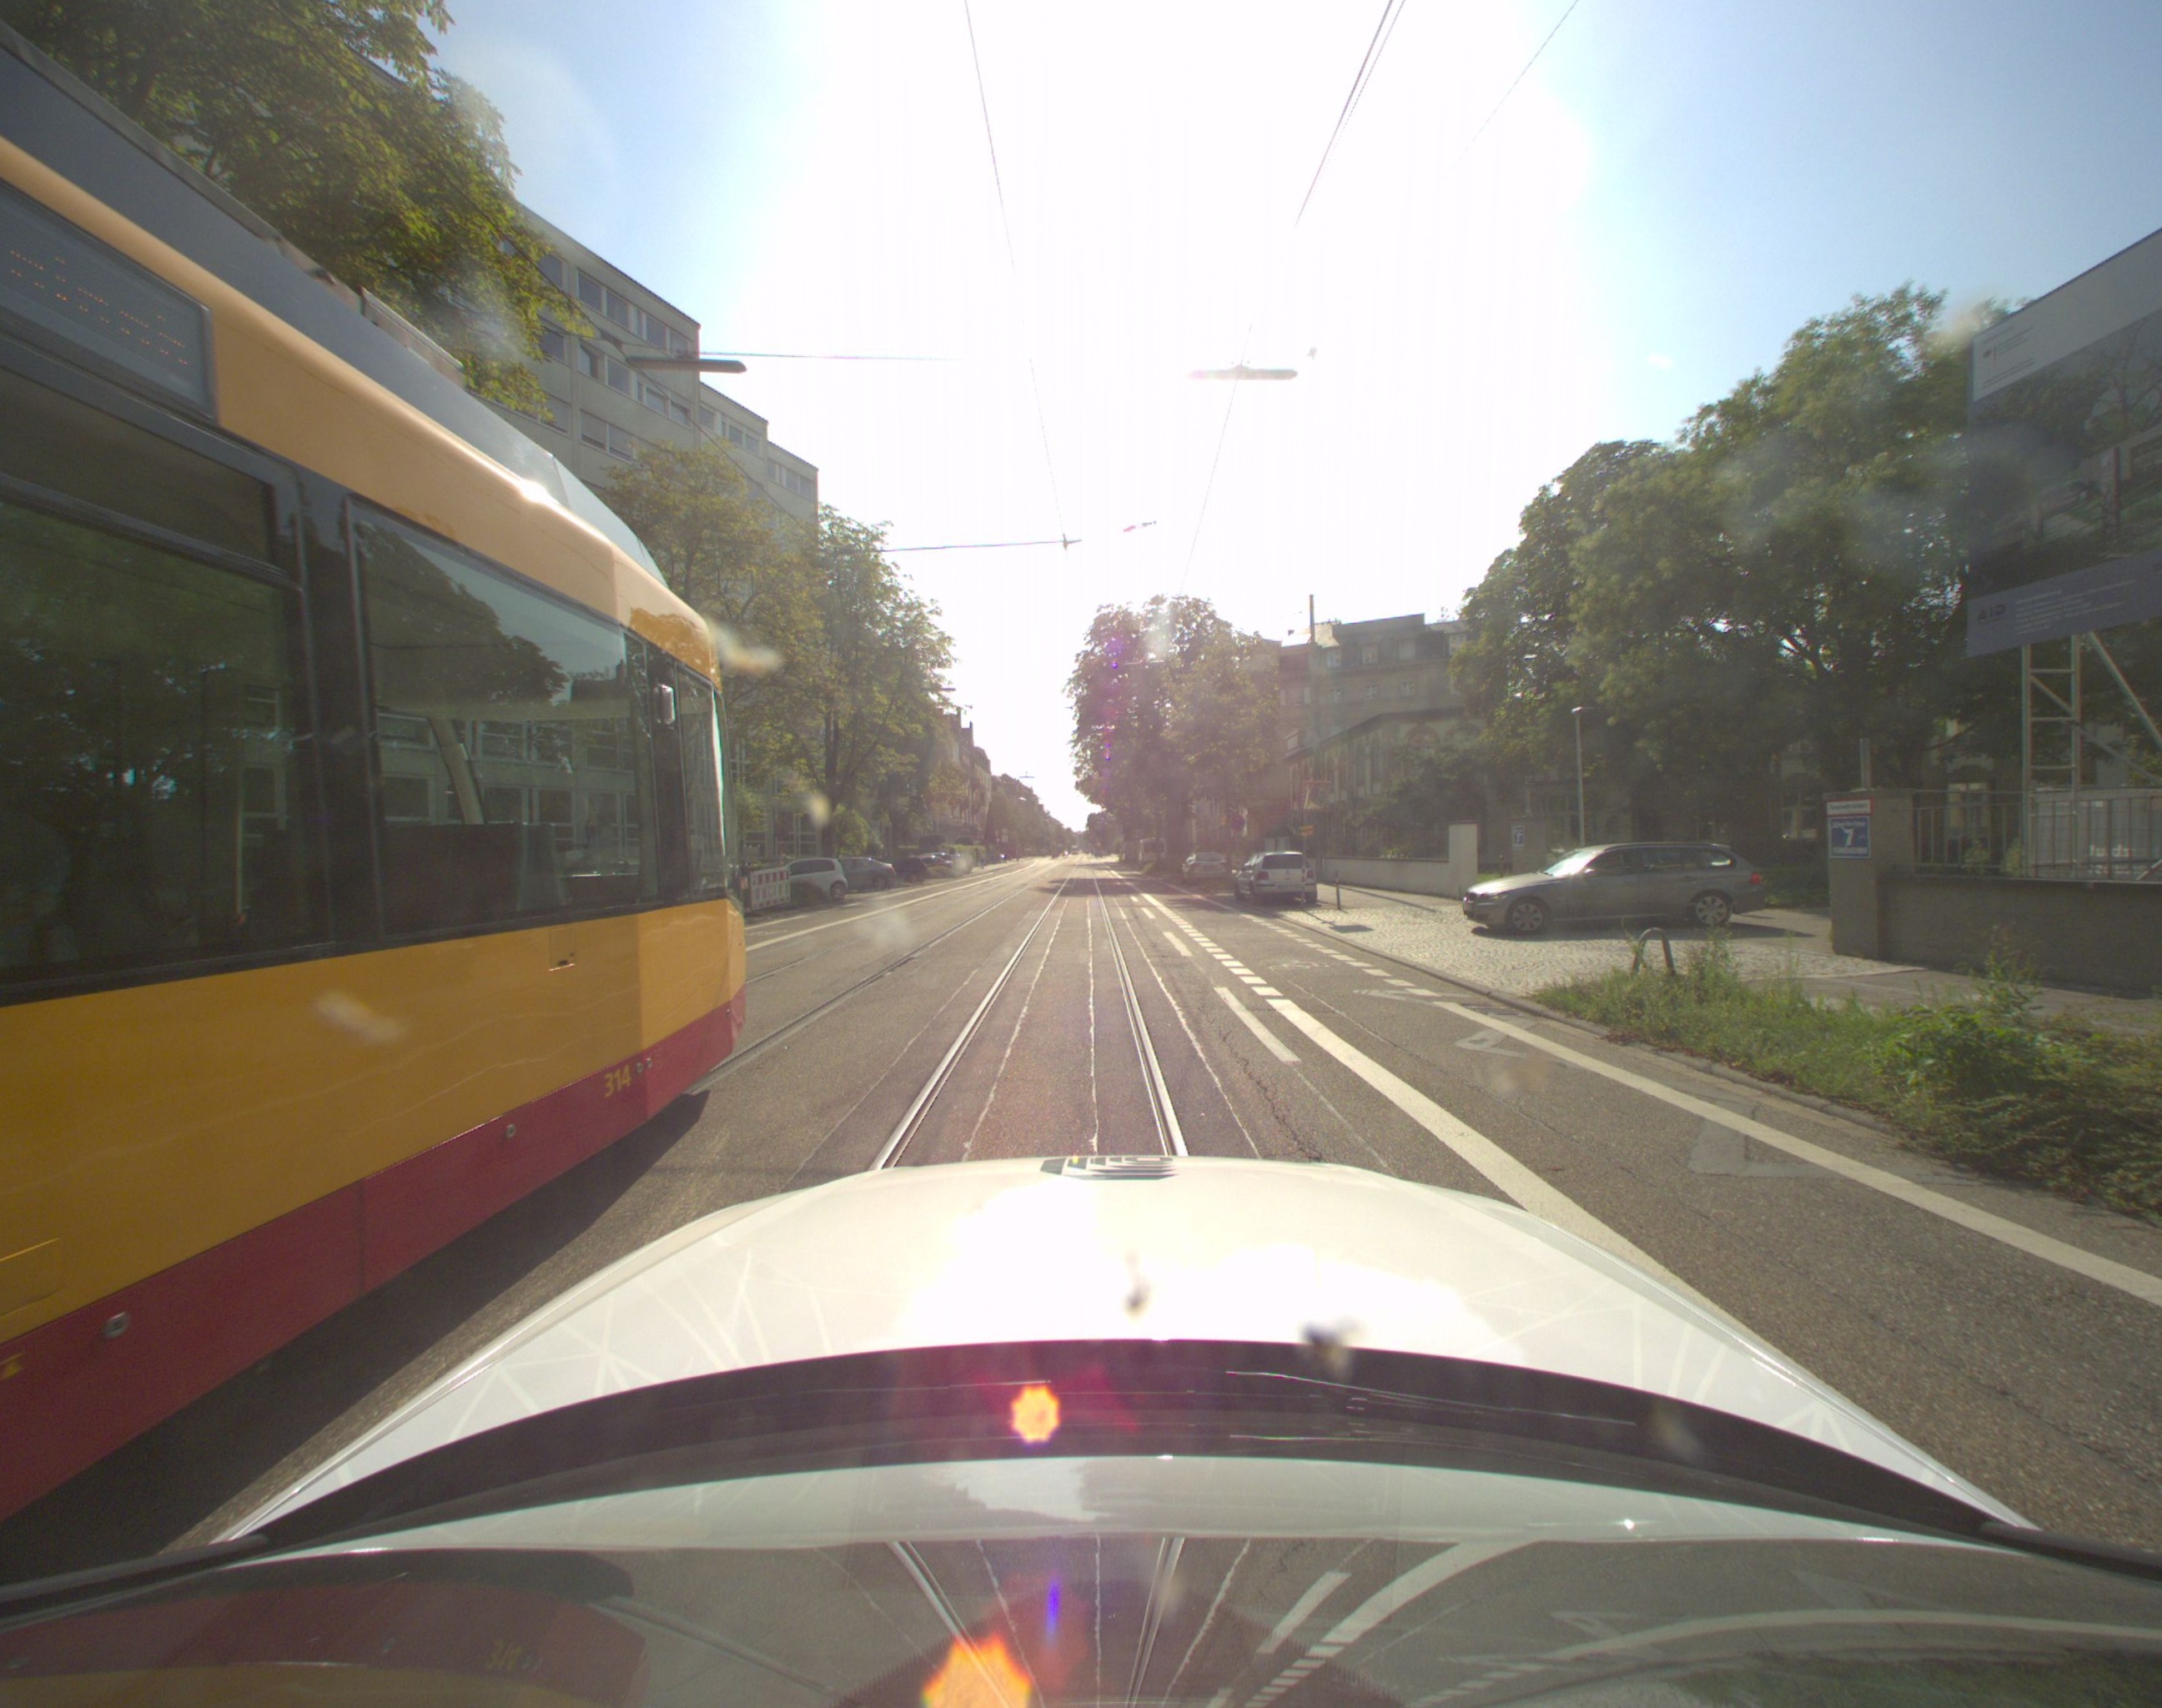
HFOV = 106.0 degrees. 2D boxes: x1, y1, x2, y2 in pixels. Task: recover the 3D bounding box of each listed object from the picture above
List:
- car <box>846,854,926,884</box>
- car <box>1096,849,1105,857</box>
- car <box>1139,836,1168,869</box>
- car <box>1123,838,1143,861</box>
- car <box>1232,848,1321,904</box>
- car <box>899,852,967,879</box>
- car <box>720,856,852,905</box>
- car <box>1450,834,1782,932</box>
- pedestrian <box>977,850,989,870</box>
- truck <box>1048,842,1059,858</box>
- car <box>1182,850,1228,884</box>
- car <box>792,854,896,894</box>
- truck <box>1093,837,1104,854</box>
[{"bbox_3d":[-10.074,0.748,42.285,1.551,1.406,3.786,-1,0,44],"label":"car"},{"bbox_3d":[4.904,-0.278,204.313,1.986,1.838,4.002,-1,0,2],"label":"car"},{"bbox_3d":[5.727,-0.137,64.723,1.997,2.490,4.478,-1,0,1],"label":"car"},{"bbox_3d":[5.794,-0.462,91.563,1.997,2.475,4.478,-1,0,1],"label":"car"},{"bbox_3d":[5.405,0.562,22.922,1.683,1.418,3.635,-1,0,1],"label":"car"},{"bbox_3d":[-9.588,0.704,52.862,4.008,1.640,1.676,-1,0,-27],"label":"car"},{"bbox_3d":[-9.669,0.819,26.900,1.550,1.443,3.787,-1,0,40],"label":"car"},{"bbox_3d":[8.983,0.504,14.065,4.395,1.410,1.810,-3,-1,9],"label":"car"},{"bbox_3d":[-8.712,0.523,72.527,0.959,1.760,0.661,-1,0,-1],"label":"pedestrian"},{"bbox_3d":[-5.176,-0.753,153.300,1.987,2.975,4.570,-1,0,0],"label":"truck"},{"bbox_3d":[5.507,0.542,36.513,1.589,1.418,3.635,-1,0,1],"label":"car"},{"bbox_3d":[-9.606,0.776,33.236,1.551,1.443,3.786,-1,0,44],"label":"car"},{"bbox_3d":[3.332,-1.543,153.432,1.855,3.130,4.350,-1,0,-2],"label":"truck"}]
